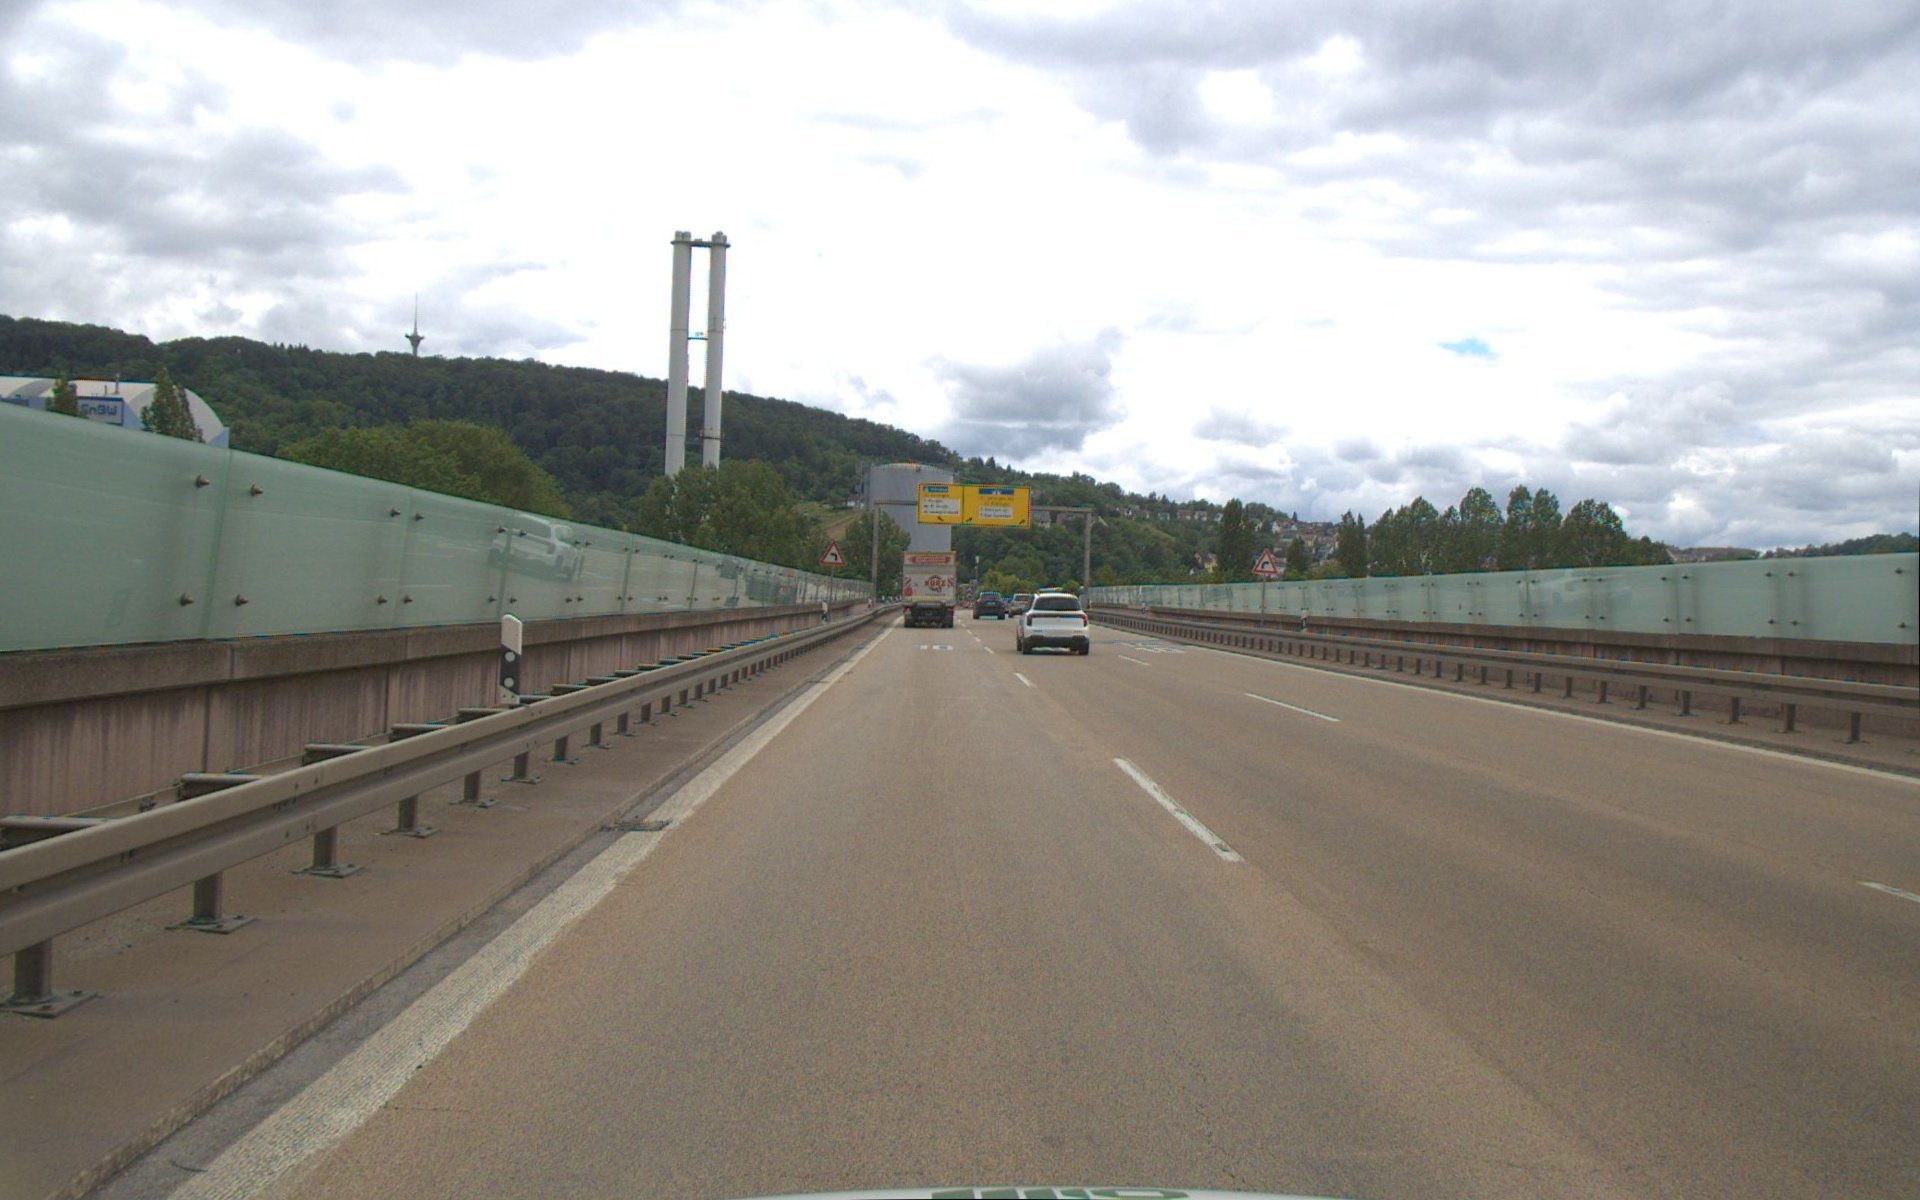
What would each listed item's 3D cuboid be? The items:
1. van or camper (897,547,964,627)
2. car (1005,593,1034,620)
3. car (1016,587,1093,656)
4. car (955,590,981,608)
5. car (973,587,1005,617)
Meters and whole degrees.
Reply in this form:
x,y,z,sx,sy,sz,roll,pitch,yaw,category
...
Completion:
x,y,z,sx,sy,sz,roll,pitch,yaw,category
-1.363,-0.605,80.781,3.058,3.642,8.549,1,0,0,van or camper
4.181,0.455,116.799,1.884,1.816,4.113,1,0,-1,car
2.620,0.558,46.659,1.884,1.816,4.112,1,0,-1,car
0.927,-0.112,197.285,2.420,2.014,5.164,1,0,8,car
1.810,0.112,103.792,1.884,1.816,4.112,1,0,-1,car
